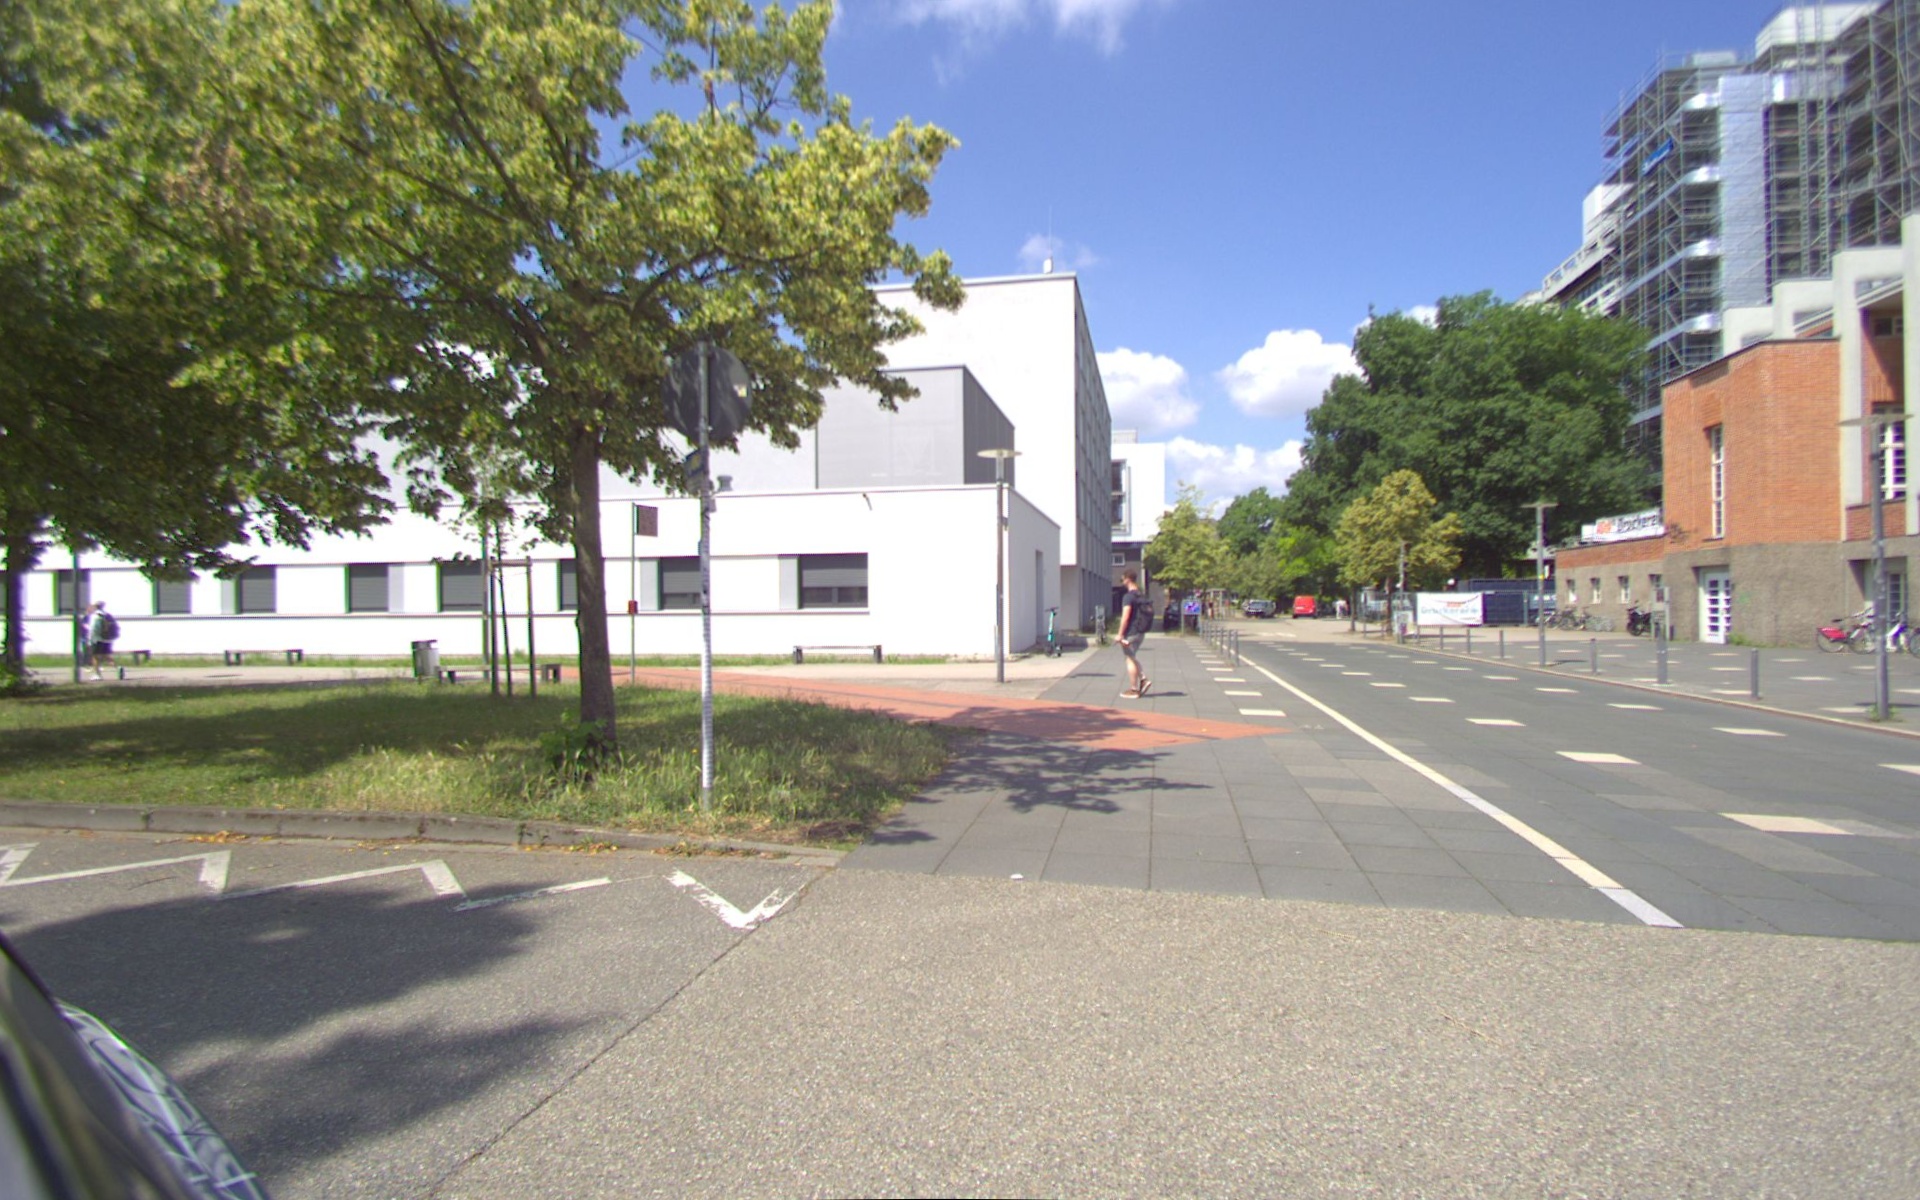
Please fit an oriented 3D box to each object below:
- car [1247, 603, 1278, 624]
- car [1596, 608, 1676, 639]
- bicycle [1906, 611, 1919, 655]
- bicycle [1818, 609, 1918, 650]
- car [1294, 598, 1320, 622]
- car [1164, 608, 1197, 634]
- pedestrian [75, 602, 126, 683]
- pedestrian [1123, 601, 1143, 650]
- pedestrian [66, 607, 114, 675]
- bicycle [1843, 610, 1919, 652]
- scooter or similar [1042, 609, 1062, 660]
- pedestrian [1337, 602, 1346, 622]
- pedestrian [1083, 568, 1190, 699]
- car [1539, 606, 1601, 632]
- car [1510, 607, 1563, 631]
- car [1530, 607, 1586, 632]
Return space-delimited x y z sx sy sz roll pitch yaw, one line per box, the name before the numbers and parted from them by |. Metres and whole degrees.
car | 32.193 1.441 107.551 2.021 2.108 4.384 -1 -1 32
car | 26.564 0.918 39.812 2.505 1.189 0.629 -1 -1 14
bicycle | 23.265 0.757 23.471 1.936 1.038 0.528 -1 -1 11
bicycle | 23.986 0.778 26.764 1.936 1.038 0.540 -1 -1 11
car | 27.955 0.802 81.638 1.899 1.896 3.976 -1 -1 18
car | 12.043 1.132 55.391 1.536 1.396 3.443 -1 0 10
pedestrian | -19.282 0.938 22.718 0.699 1.783 0.833 0 -1 -29
pedestrian | 5.129 0.757 30.044 0.520 1.450 0.697 -1 -1 14
pedestrian | -22.396 1.046 26.057 0.717 1.701 0.627 -1 -1 11
bicycle | 23.768 0.777 25.756 1.936 1.038 0.517 -1 -1 11
scooter or similar | 2.323 0.852 25.422 0.324 1.245 1.068 -1 -1 14
pedestrian | 29.847 0.904 79.121 0.639 1.550 0.449 -1 -1 23
pedestrian | 2.576 0.476 14.788 1.171 1.814 1.007 -1 -1 41
car | 28.595 0.905 47.472 2.346 1.189 0.791 -1 -1 14
car | 29.381 0.957 51.600 2.304 1.189 0.477 -1 -1 14
car | 29.026 0.930 49.175 2.268 1.189 0.522 -1 -1 14
